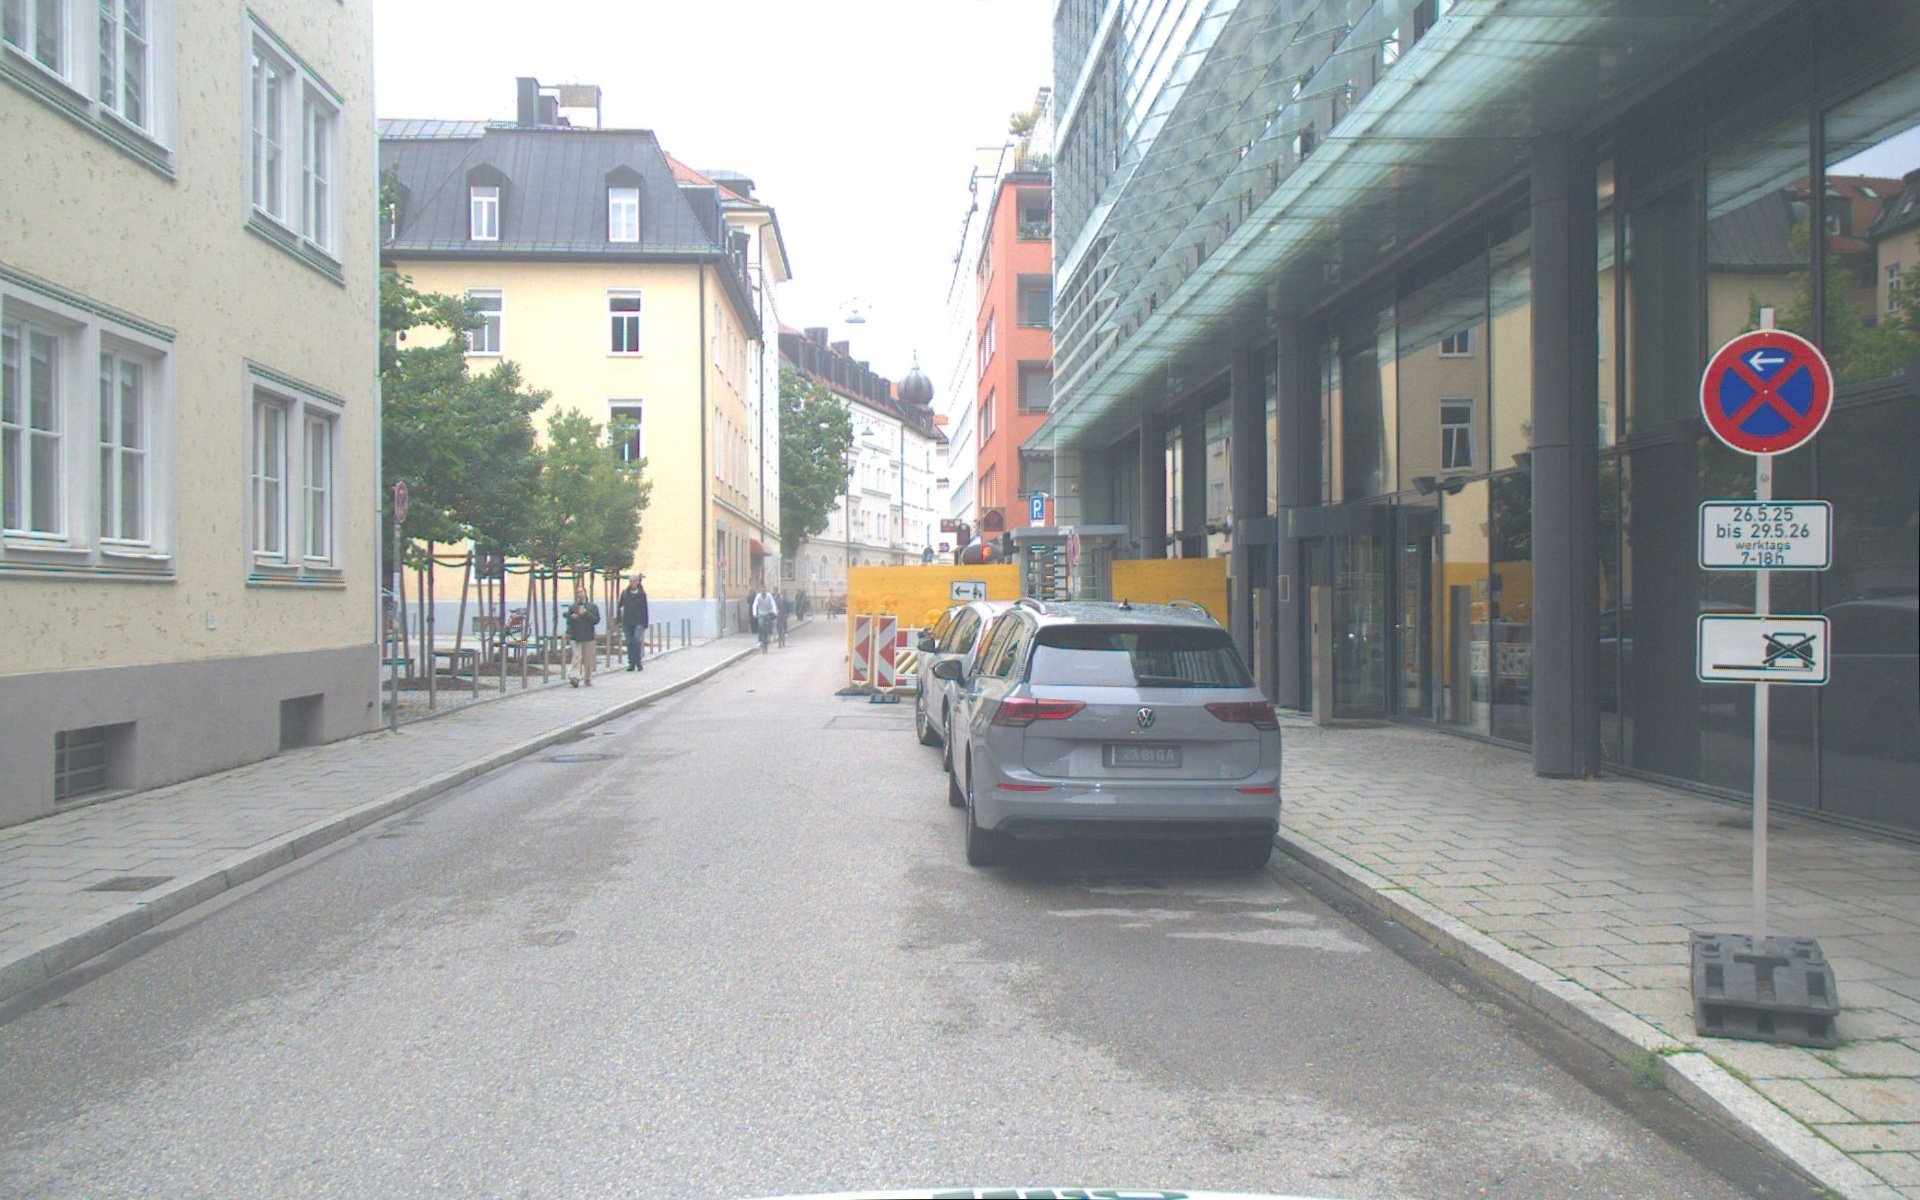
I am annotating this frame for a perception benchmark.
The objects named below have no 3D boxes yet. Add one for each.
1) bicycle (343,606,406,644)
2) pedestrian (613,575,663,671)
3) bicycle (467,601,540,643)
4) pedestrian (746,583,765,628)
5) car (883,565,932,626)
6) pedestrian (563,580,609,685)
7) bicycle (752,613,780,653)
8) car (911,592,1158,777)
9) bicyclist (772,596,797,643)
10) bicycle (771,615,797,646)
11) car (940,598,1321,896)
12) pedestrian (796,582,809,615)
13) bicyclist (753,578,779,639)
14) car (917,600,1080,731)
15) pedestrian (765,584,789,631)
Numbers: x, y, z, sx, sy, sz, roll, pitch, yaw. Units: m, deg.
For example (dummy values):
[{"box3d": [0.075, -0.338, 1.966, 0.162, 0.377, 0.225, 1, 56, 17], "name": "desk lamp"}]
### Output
[{"box3d": [-17.161, 0.738, 48.516, 1.622, 1.088, 0.598, 1, 0, 0], "name": "bicycle"}, {"box3d": [-6.554, 0.456, 33.686, 0.850, 1.914, 1.134, 0, 0, -4], "name": "pedestrian"}, {"box3d": [-13.510, 0.653, 49.017, 2.000, 1.218, 0.570, 0, 0, 4], "name": "bicycle"}, {"box3d": [-7.601, 0.203, 61.412, 0.657, 1.677, 0.761, 0, 0, -4], "name": "pedestrian"}, {"box3d": [-2.344, -0.183, 72.841, 1.954, 2.581, 4.971, 0, 0, -4], "name": "car"}, {"box3d": [-6.209, 0.533, 27.487, 0.634, 1.706, 0.723, 0, 0, -4], "name": "pedestrian"}, {"box3d": [-5.378, 0.892, 45.913, 0.648, 1.057, 2.003, -1, 0, -3], "name": "bicycle"}, {"box3d": [0.559, 0.701, 15.660, 1.675, 1.493, 4.231, 1, 0, -6], "name": "car"}, {"box3d": [-5.359, 0.585, 50.476, 0.694, 1.395, 0.812, -1, 0, -4], "name": "bicyclist"}, {"box3d": [-5.354, 0.923, 50.500, 0.693, 0.921, 1.808, -1, 0, -4], "name": "bicycle"}, {"box3d": [0.827, 0.725, 10.375, 1.674, 1.457, 4.326, 0, 0, -4], "name": "car"}, {"box3d": [-8.186, -0.058, 85.877, 0.622, 1.704, 0.517, 0, 0, -4], "name": "pedestrian"}, {"box3d": [-5.374, 0.239, 45.854, 0.646, 1.671, 0.894, -1, 0, -4], "name": "bicyclist"}, {"box3d": [0.375, 0.748, 20.814, 1.674, 1.439, 4.506, 1, 0, -3], "name": "car"}, {"box3d": [-6.761, 0.276, 61.201, 0.822, 1.730, 0.802, 0, 0, -4], "name": "pedestrian"}]
